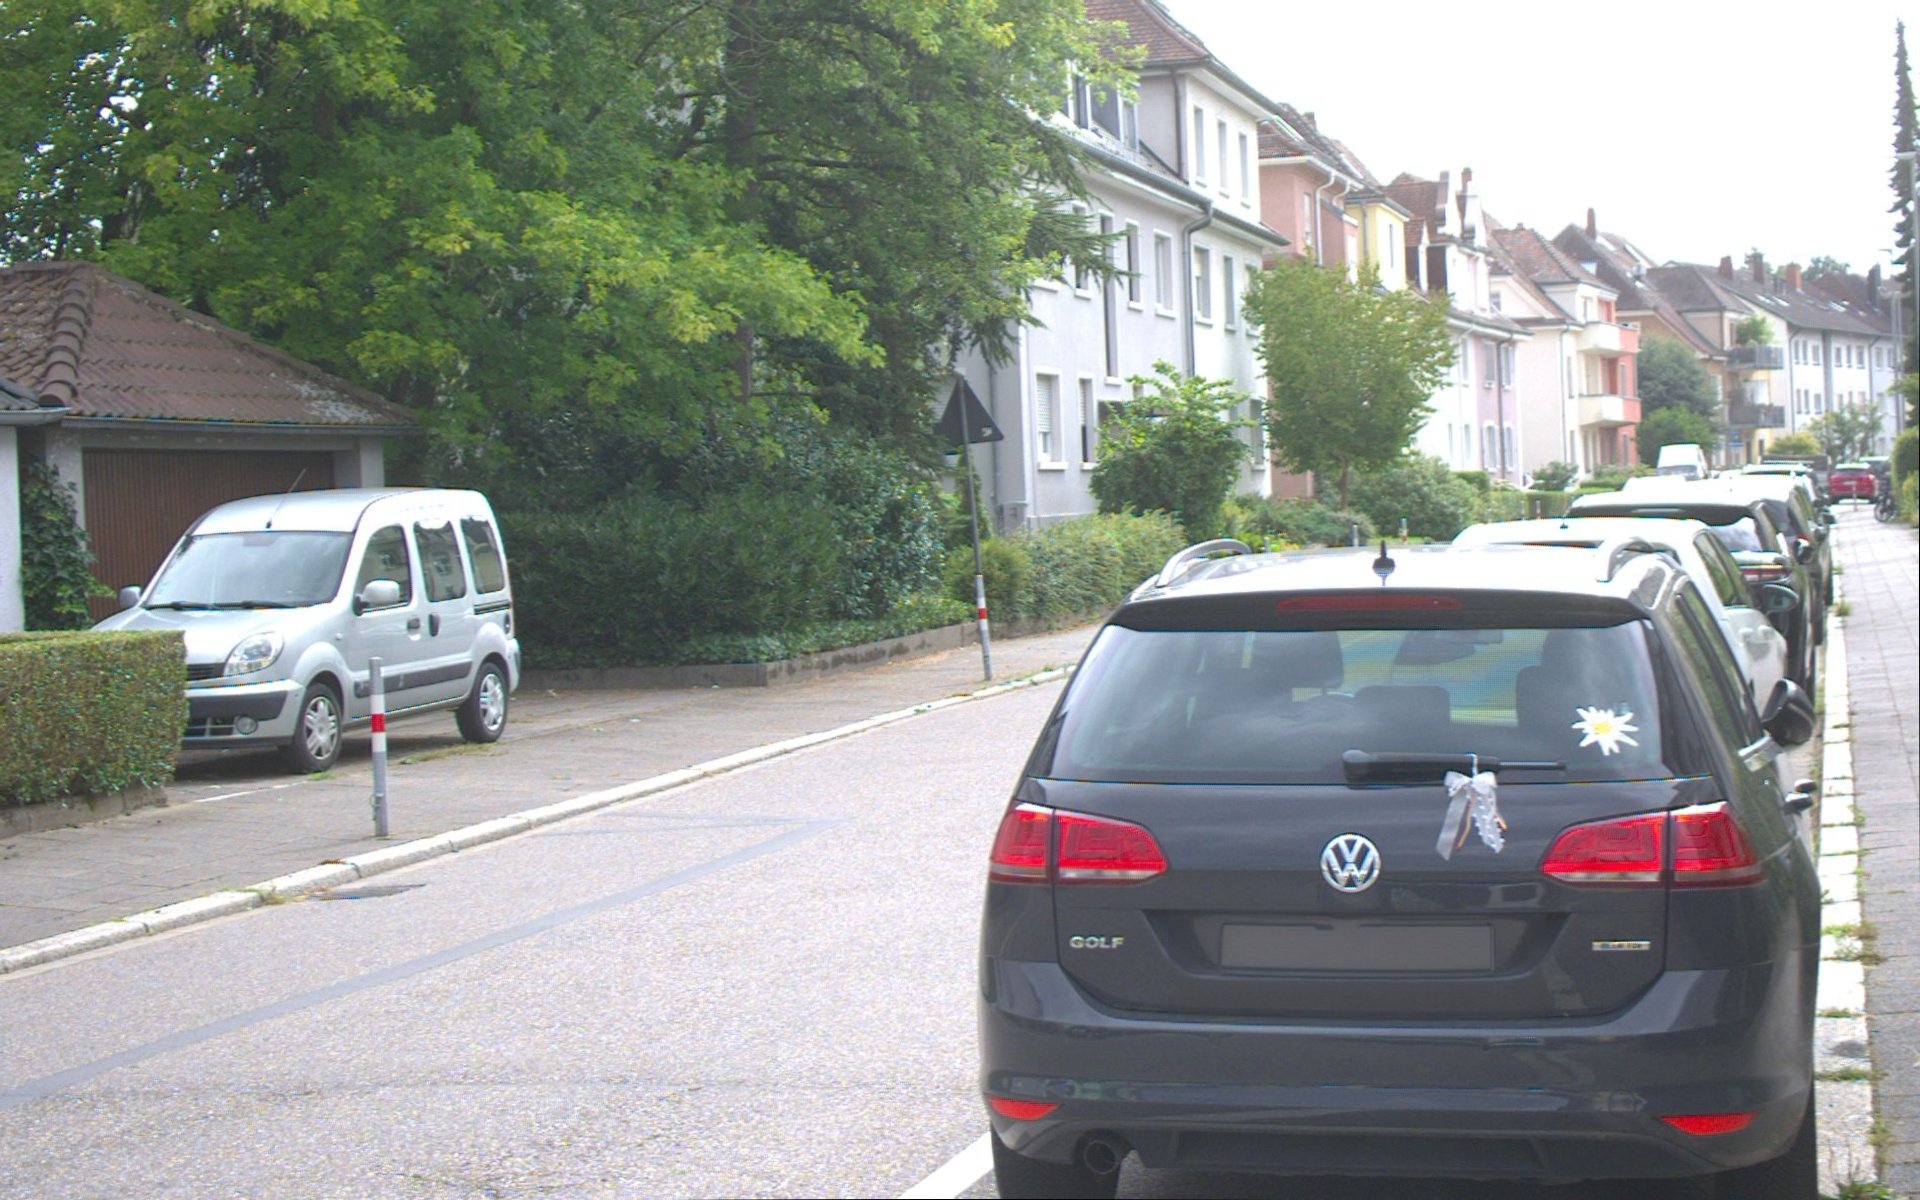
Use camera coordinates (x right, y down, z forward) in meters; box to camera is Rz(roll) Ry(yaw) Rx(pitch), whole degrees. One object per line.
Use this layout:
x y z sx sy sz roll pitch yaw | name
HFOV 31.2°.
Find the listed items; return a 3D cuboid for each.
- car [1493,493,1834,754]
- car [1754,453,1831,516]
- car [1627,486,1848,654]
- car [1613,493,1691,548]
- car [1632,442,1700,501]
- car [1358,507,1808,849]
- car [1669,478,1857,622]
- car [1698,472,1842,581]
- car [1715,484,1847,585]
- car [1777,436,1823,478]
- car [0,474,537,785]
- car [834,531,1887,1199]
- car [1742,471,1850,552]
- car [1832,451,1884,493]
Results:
4.715 0.090 22.616 1.855 1.466 4.172 -2 2 16 | car
22.053 -3.067 90.999 1.855 1.572 4.173 -2 2 15 | car
7.711 -0.339 33.845 1.855 1.466 4.172 -2 2 16 | car
22.502 -2.584 111.739 1.995 1.634 3.997 -2 2 18 | car
25.523 -4.650 124.126 1.995 2.006 3.997 -2 2 17 | car
3.340 0.318 17.801 1.855 1.466 4.172 -2 2 16 | car
9.208 -0.609 39.227 1.855 1.466 4.172 -2 2 16 | car
12.061 -1.113 51.039 1.855 1.466 4.172 -2 2 16 | car
13.227 -1.072 55.234 1.855 1.466 4.172 -2 2 16 | car
44.335 -7.559 181.386 1.995 2.116 3.997 -2 2 18 | car
-4.576 0.125 22.952 1.995 1.831 3.997 -2 2 16 | car
1.106 0.640 8.254 1.854 1.466 4.174 -2 2 11 | car
16.370 -1.750 67.181 1.855 1.466 4.172 -2 2 16 | car
35.774 -5.105 136.884 1.855 1.572 4.172 -2 2 16 | car
